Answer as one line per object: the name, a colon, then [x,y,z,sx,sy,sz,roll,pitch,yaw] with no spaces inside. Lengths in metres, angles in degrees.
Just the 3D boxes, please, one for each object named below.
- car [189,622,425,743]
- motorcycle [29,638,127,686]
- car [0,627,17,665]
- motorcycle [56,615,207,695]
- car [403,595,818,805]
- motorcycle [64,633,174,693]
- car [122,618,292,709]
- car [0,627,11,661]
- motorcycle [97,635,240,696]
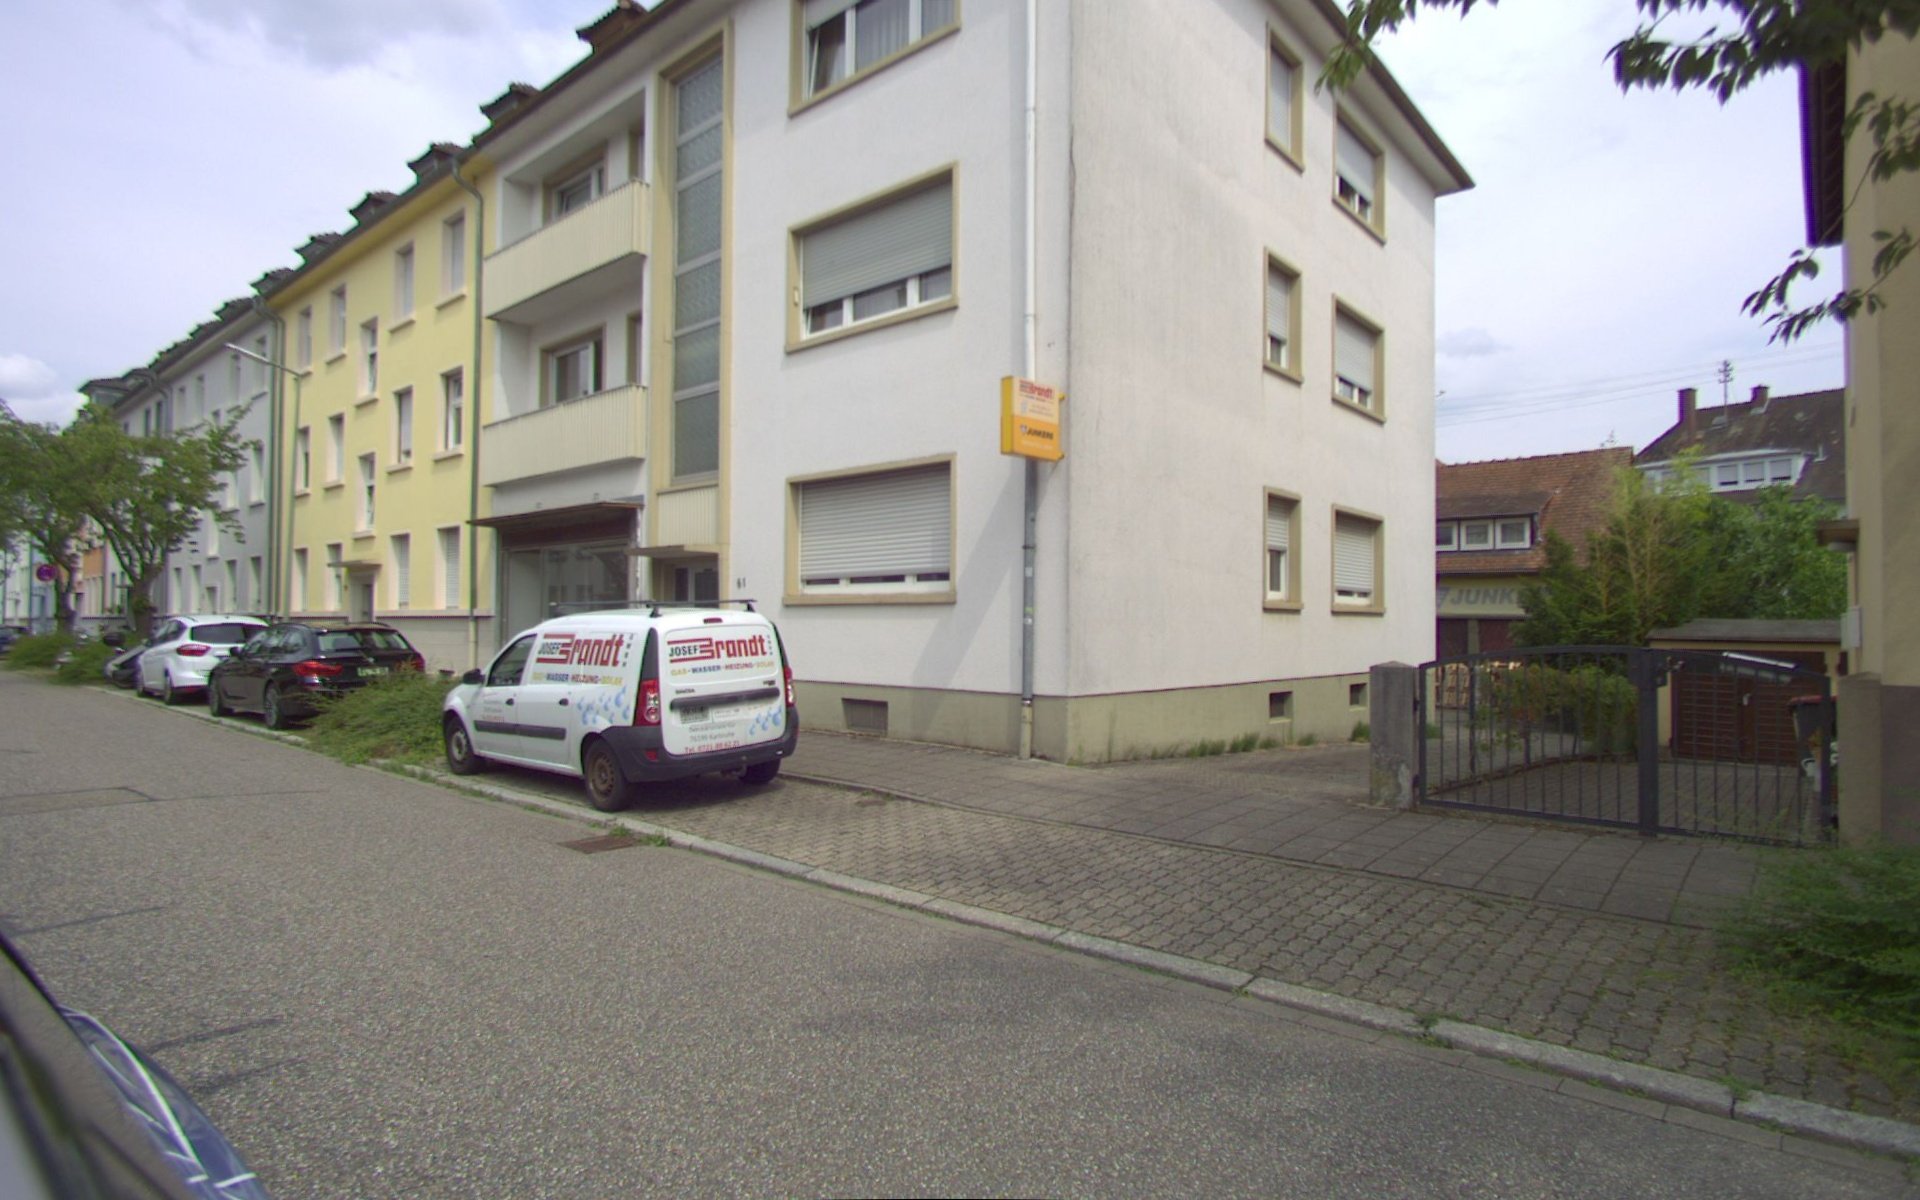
car: [-9.935,1.102,15.231,4.811,1.503,1.771,-1,-1,42]
motorcycle: [-23.270,1.642,26.760,0.591,1.201,1.902,1,-3,15]
car: [-40.485,1.919,41.732,4.117,1.495,1.818,-1,1,40]
motorcycle: [-17.894,1.191,21.909,2.438,1.689,0.939,0,-3,-2]
car: [-3.563,0.847,9.892,4.381,1.593,1.898,-1,-4,42]
motorcycle: [-21.981,1.651,26.523,0.591,1.493,2.228,1,-3,14]
car: [-14.514,1.149,19.430,4.254,1.568,1.738,-1,-3,41]
car: [-44.809,1.993,46.086,4.090,1.495,1.818,-1,-1,40]
motorcycle: [-18.069,1.515,23.177,2.414,1.321,0.645,3,-4,-25]
